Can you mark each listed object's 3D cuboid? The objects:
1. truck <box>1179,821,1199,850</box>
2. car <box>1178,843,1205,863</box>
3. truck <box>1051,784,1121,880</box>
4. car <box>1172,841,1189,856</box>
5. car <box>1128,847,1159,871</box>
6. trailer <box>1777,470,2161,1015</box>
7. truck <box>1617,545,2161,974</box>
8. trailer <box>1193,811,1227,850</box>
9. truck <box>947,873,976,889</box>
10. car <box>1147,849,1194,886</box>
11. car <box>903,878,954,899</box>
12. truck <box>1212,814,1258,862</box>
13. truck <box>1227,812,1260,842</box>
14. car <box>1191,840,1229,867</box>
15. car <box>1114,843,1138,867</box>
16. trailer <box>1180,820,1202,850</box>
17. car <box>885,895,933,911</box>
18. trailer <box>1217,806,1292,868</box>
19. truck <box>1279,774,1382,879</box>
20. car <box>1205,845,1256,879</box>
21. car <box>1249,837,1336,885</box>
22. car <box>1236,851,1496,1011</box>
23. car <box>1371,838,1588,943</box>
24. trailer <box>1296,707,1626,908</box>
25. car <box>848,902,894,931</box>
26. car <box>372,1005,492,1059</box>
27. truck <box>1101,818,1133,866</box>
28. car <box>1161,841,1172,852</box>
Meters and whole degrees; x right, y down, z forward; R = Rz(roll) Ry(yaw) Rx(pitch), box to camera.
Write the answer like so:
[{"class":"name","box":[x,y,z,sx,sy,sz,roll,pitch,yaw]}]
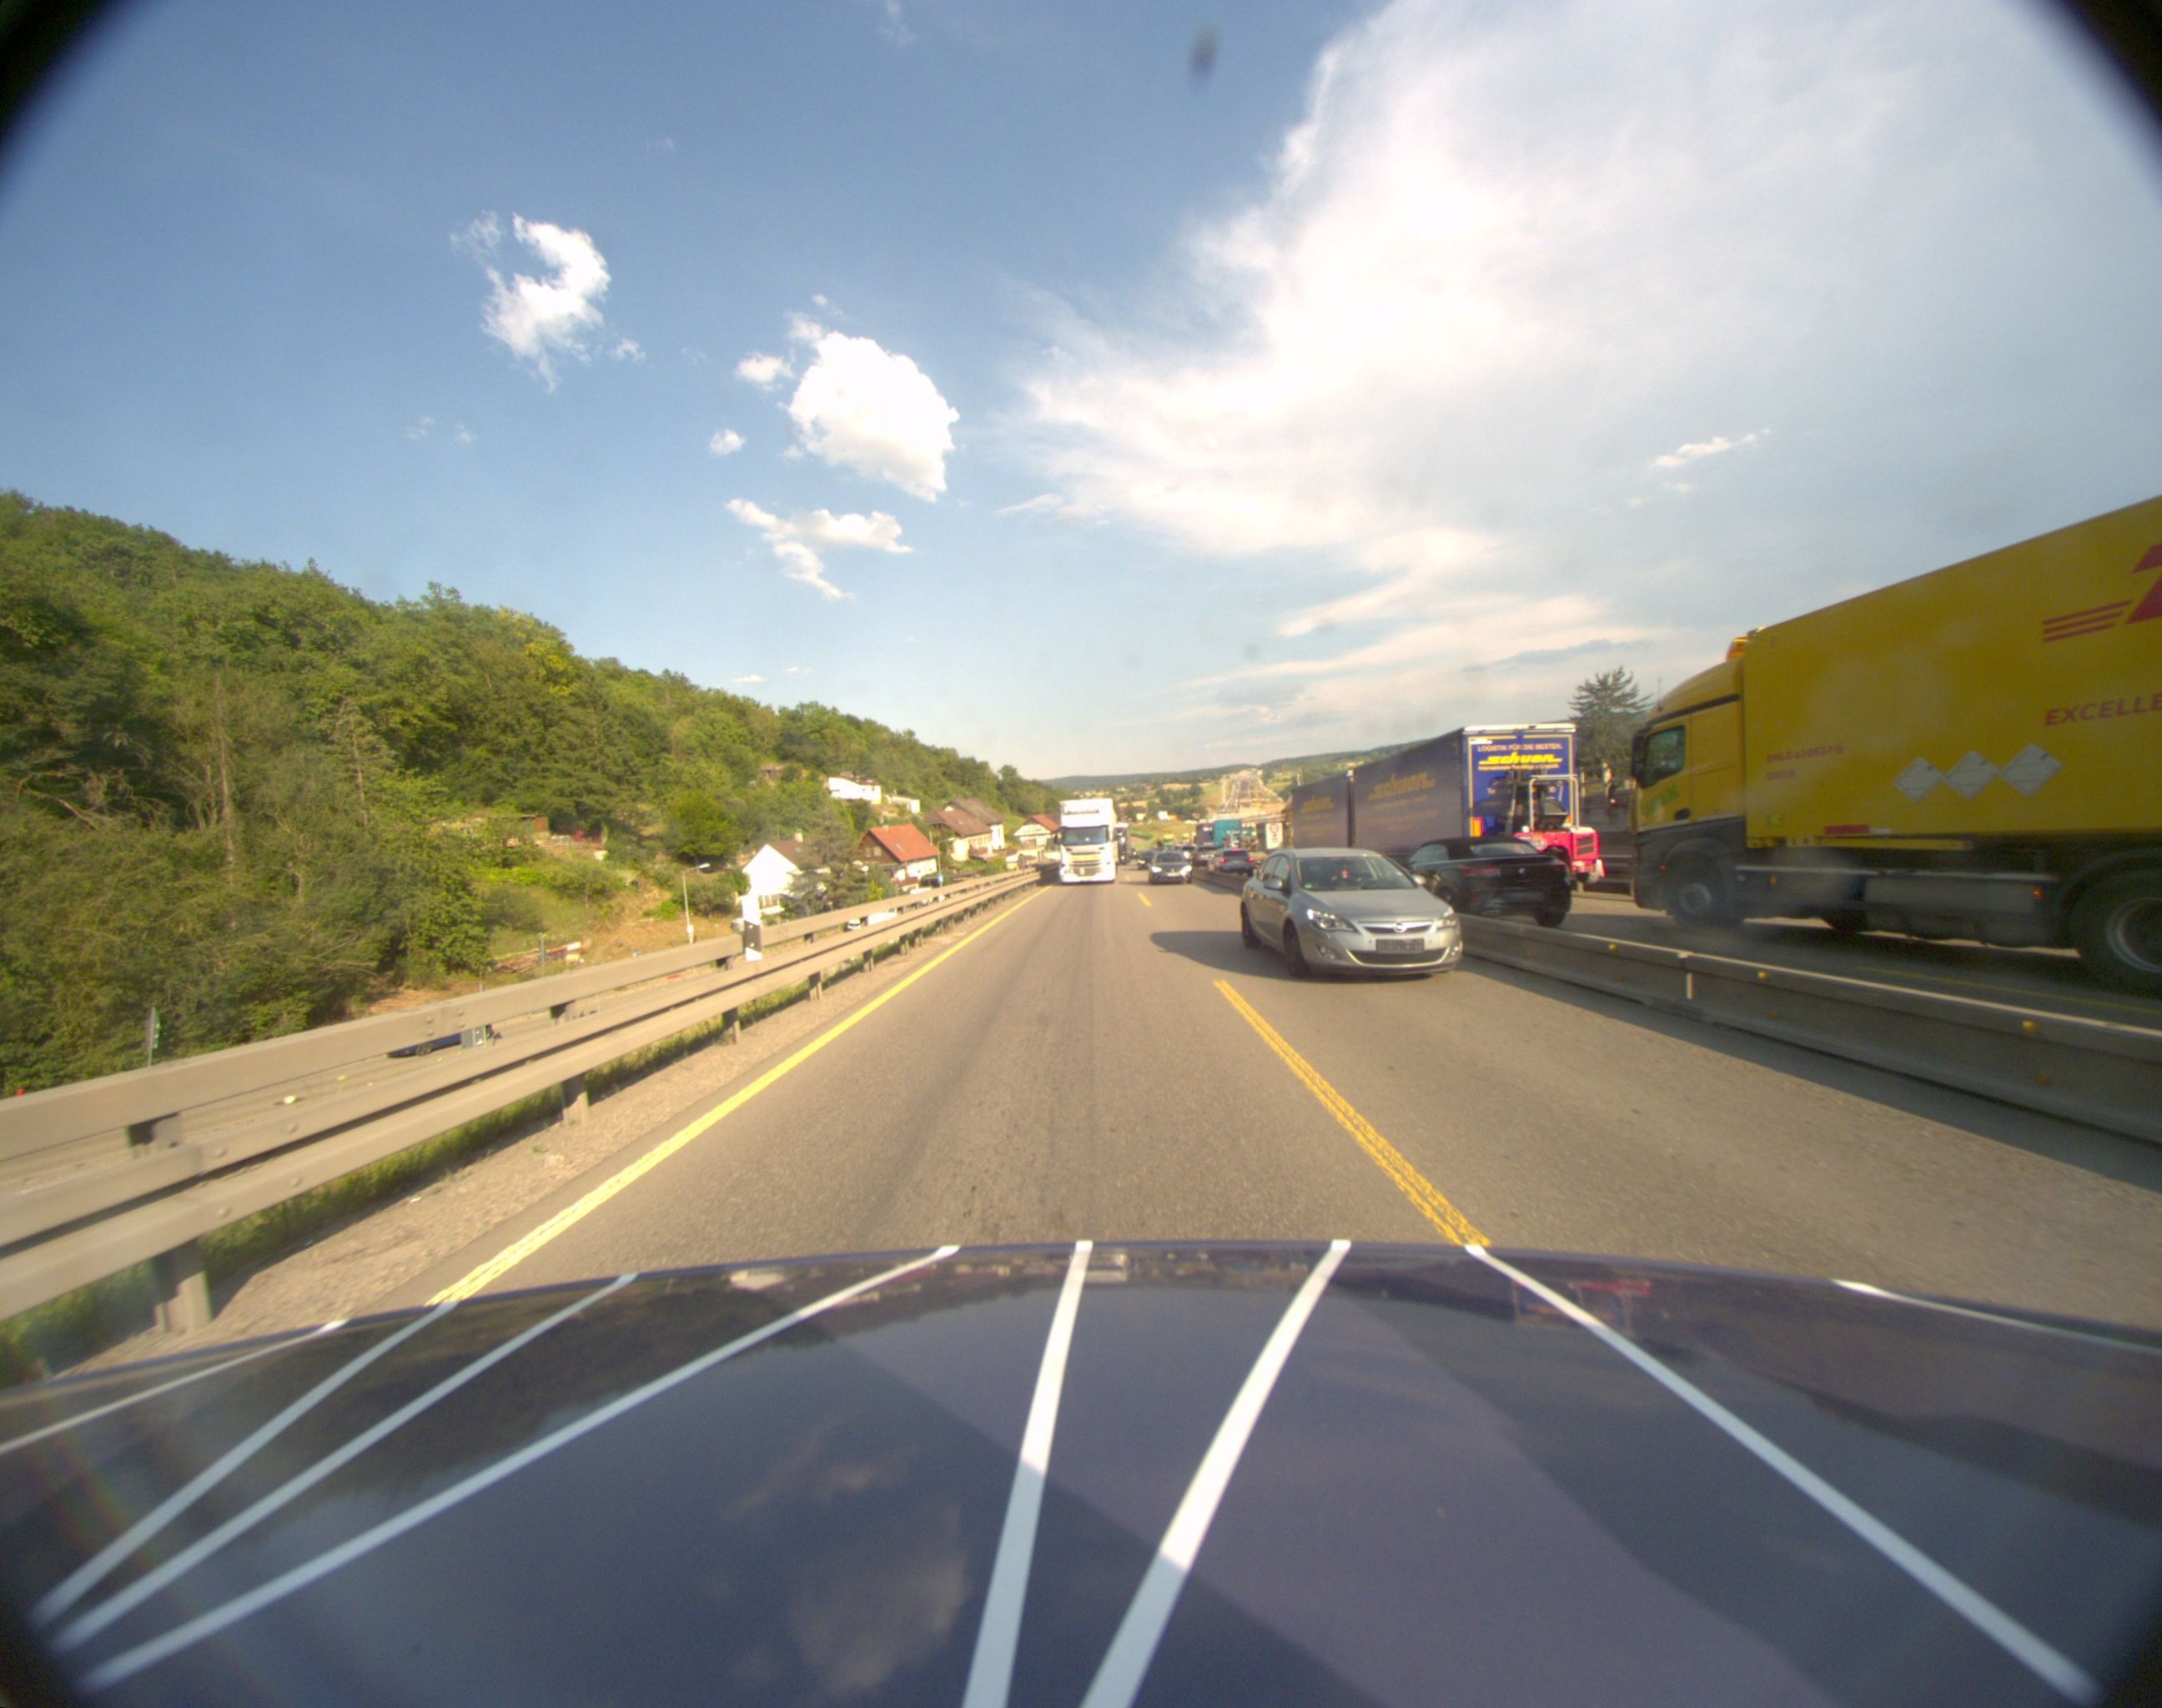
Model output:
[{"class":"truck","box":[17.595,-3.011,123.991,2.925,4.489,5.028,-2,1,6]},{"class":"car","box":[10.048,-0.105,69.612,1.964,1.635,4.848,-1,2,3]},{"class":"truck","box":[0.544,-1.112,39.402,2.892,4.059,13.892,-1,2,3]},{"class":"car","box":[13.155,-0.759,100.468,1.827,1.922,5.130,1,2,4]},{"class":"car","box":[4.462,0.333,54.954,1.998,1.565,3.999,-1,2,2]},{"class":"trailer","box":[9.571,-0.755,1.104,2.708,4.180,15.993,-1,2,1]},{"class":"truck","box":[9.737,-0.977,9.720,2.700,4.173,4.397,-1,2,1]},{"class":"trailer","box":[14.632,-2.596,86.880,2.721,4.099,12.494,0,1,4]},{"class":"truck","box":[-16.012,3.580,101.428,2.002,1.729,3.990,-11,5,-37]},{"class":"car","box":[3.877,0.540,33.290,1.822,1.433,4.001,-3,1,5]},{"class":"car","box":[-18.366,4.147,91.571,5.475,2.251,2.001,-3,3,12]},{"class":"truck","box":[12.707,-1.323,63.171,2.755,3.784,7.112,0,1,4]},{"class":"truck","box":[23.629,-3.828,111.053,3.165,4.099,12.494,0,1,4]},{"class":"car","box":[8.695,-0.059,51.469,1.931,1.692,4.691,-1,2,3]},{"class":"car","box":[3.989,0.053,67.889,1.998,2.002,3.999,-1,2,2]},{"class":"trailer","box":[17.102,-2.895,118.789,2.917,4.440,7.154,-2,1,6]},{"class":"car","box":[-19.888,5.684,88.124,5.098,1.548,1.716,-2,3,12]},{"class":"trailer","box":[12.142,-1.175,54.931,2.755,3.794,16.048,0,1,4]},{"class":"truck","box":[10.661,-1.171,33.077,2.707,4.117,5.793,-1,2,2]},{"class":"car","box":[7.450,0.343,38.251,1.792,1.489,4.724,-1,2,3]},{"class":"car","box":[7.167,0.163,26.204,1.801,1.445,4.615,-1,2,1]},{"class":"car","box":[3.205,0.747,9.495,1.810,1.478,4.118,-2,1,2]},{"class":"car","box":[6.779,0.503,13.510,1.720,1.499,4.291,-1,2,2]},{"class":"trailer","box":[10.298,-1.180,24.199,2.721,4.111,16.750,-1,2,2]},{"class":"car","box":[-19.303,5.686,70.041,1.865,1.975,5.054,-1,3,13]},{"class":"car","box":[-28.987,7.921,34.068,1.770,1.588,3.622,-5,-1,18]},{"class":"truck","box":[3.711,-1.140,77.595,2.787,4.505,7.192,-3,0,4]},{"class":"car","box":[15.471,-1.385,137.983,1.866,1.577,4.746,-5,2,7]}]
